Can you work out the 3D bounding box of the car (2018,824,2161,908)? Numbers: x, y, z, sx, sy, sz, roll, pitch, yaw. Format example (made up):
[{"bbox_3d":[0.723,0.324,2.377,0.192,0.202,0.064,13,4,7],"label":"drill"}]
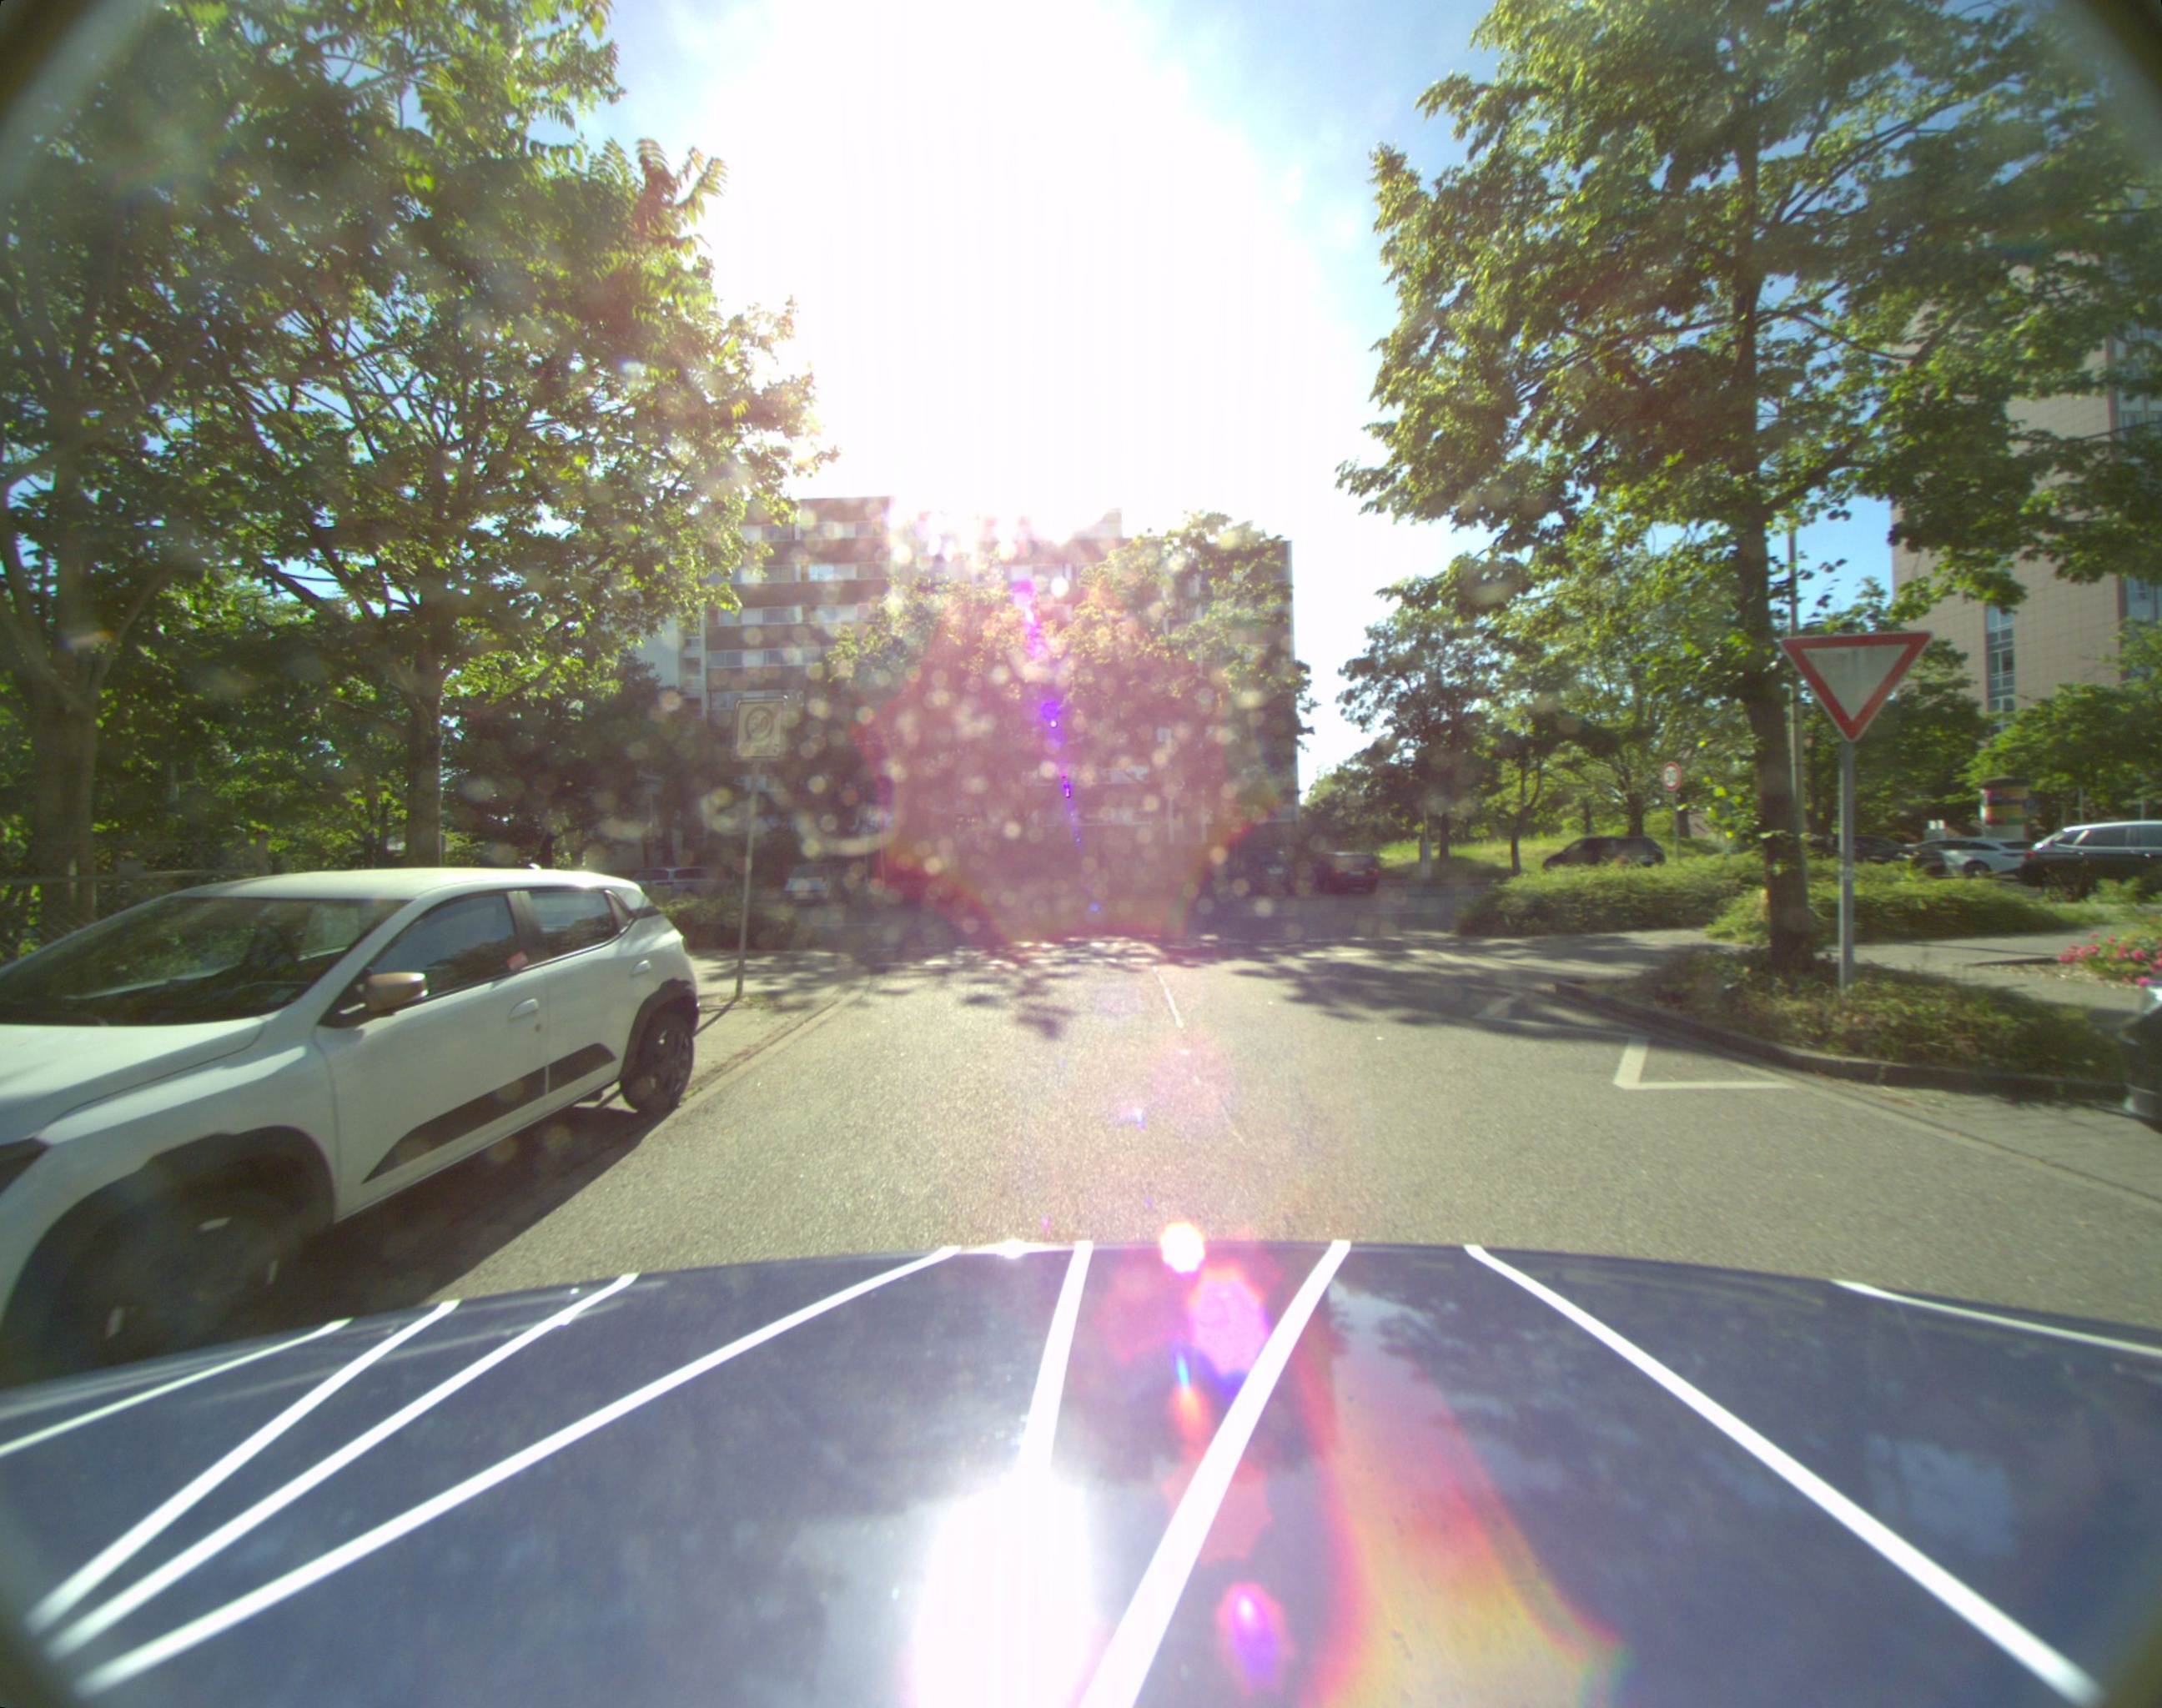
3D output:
[{"bbox_3d":[20.332,0.188,13.673,1.770,1.511,4.207,-2,-1,2],"label":"car"}]

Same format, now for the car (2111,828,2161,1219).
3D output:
[{"bbox_3d":[5.286,0.712,1.065,1.891,1.610,4.338,-2,1,3],"label":"car"}]

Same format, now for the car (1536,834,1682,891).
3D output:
[{"bbox_3d":[18.326,0.221,26.666,1.998,1.769,4.601,-2,1,1],"label":"car"}]

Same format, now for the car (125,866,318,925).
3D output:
[{"bbox_3d":[-30.600,1.411,27.305,1.815,1.638,4.447,-1,2,0],"label":"car"}]

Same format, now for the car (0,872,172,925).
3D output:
[{"bbox_3d":[-35.231,1.520,26.857,1.649,1.514,3.699,-1,2,0],"label":"car"}]

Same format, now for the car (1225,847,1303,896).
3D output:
[{"bbox_3d":[6.420,0.570,27.061,1.700,1.490,3.819,-2,2,-2],"label":"car"}]

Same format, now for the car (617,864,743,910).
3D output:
[{"bbox_3d":[-13.999,1.105,26.851,1.825,1.419,4.291,-2,-1,6],"label":"car"}]

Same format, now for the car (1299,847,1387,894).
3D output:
[{"bbox_3d":[9.200,0.530,27.039,1.821,1.379,3.998,-1,2,1],"label":"car"}]

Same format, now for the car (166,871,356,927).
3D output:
[{"bbox_3d":[-27.917,1.471,26.126,1.737,1.481,4.355,-2,2,0],"label":"car"}]

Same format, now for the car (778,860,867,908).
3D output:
[{"bbox_3d":[-9.204,1.019,27.431,1.715,1.443,3.999,-1,1,1],"label":"car"}]

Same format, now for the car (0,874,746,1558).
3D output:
[{"bbox_3d":[-3.326,0.934,3.419,1.623,1.442,4.090,-2,1,3],"label":"car"}]

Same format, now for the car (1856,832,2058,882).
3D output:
[{"bbox_3d":[30.242,0.133,26.495,1.816,1.535,4.457,-2,-1,-1],"label":"car"}]

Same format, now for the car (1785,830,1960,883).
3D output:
[{"bbox_3d":[27.209,0.041,26.333,1.732,1.609,4.130,-2,1,-1],"label":"car"}]
